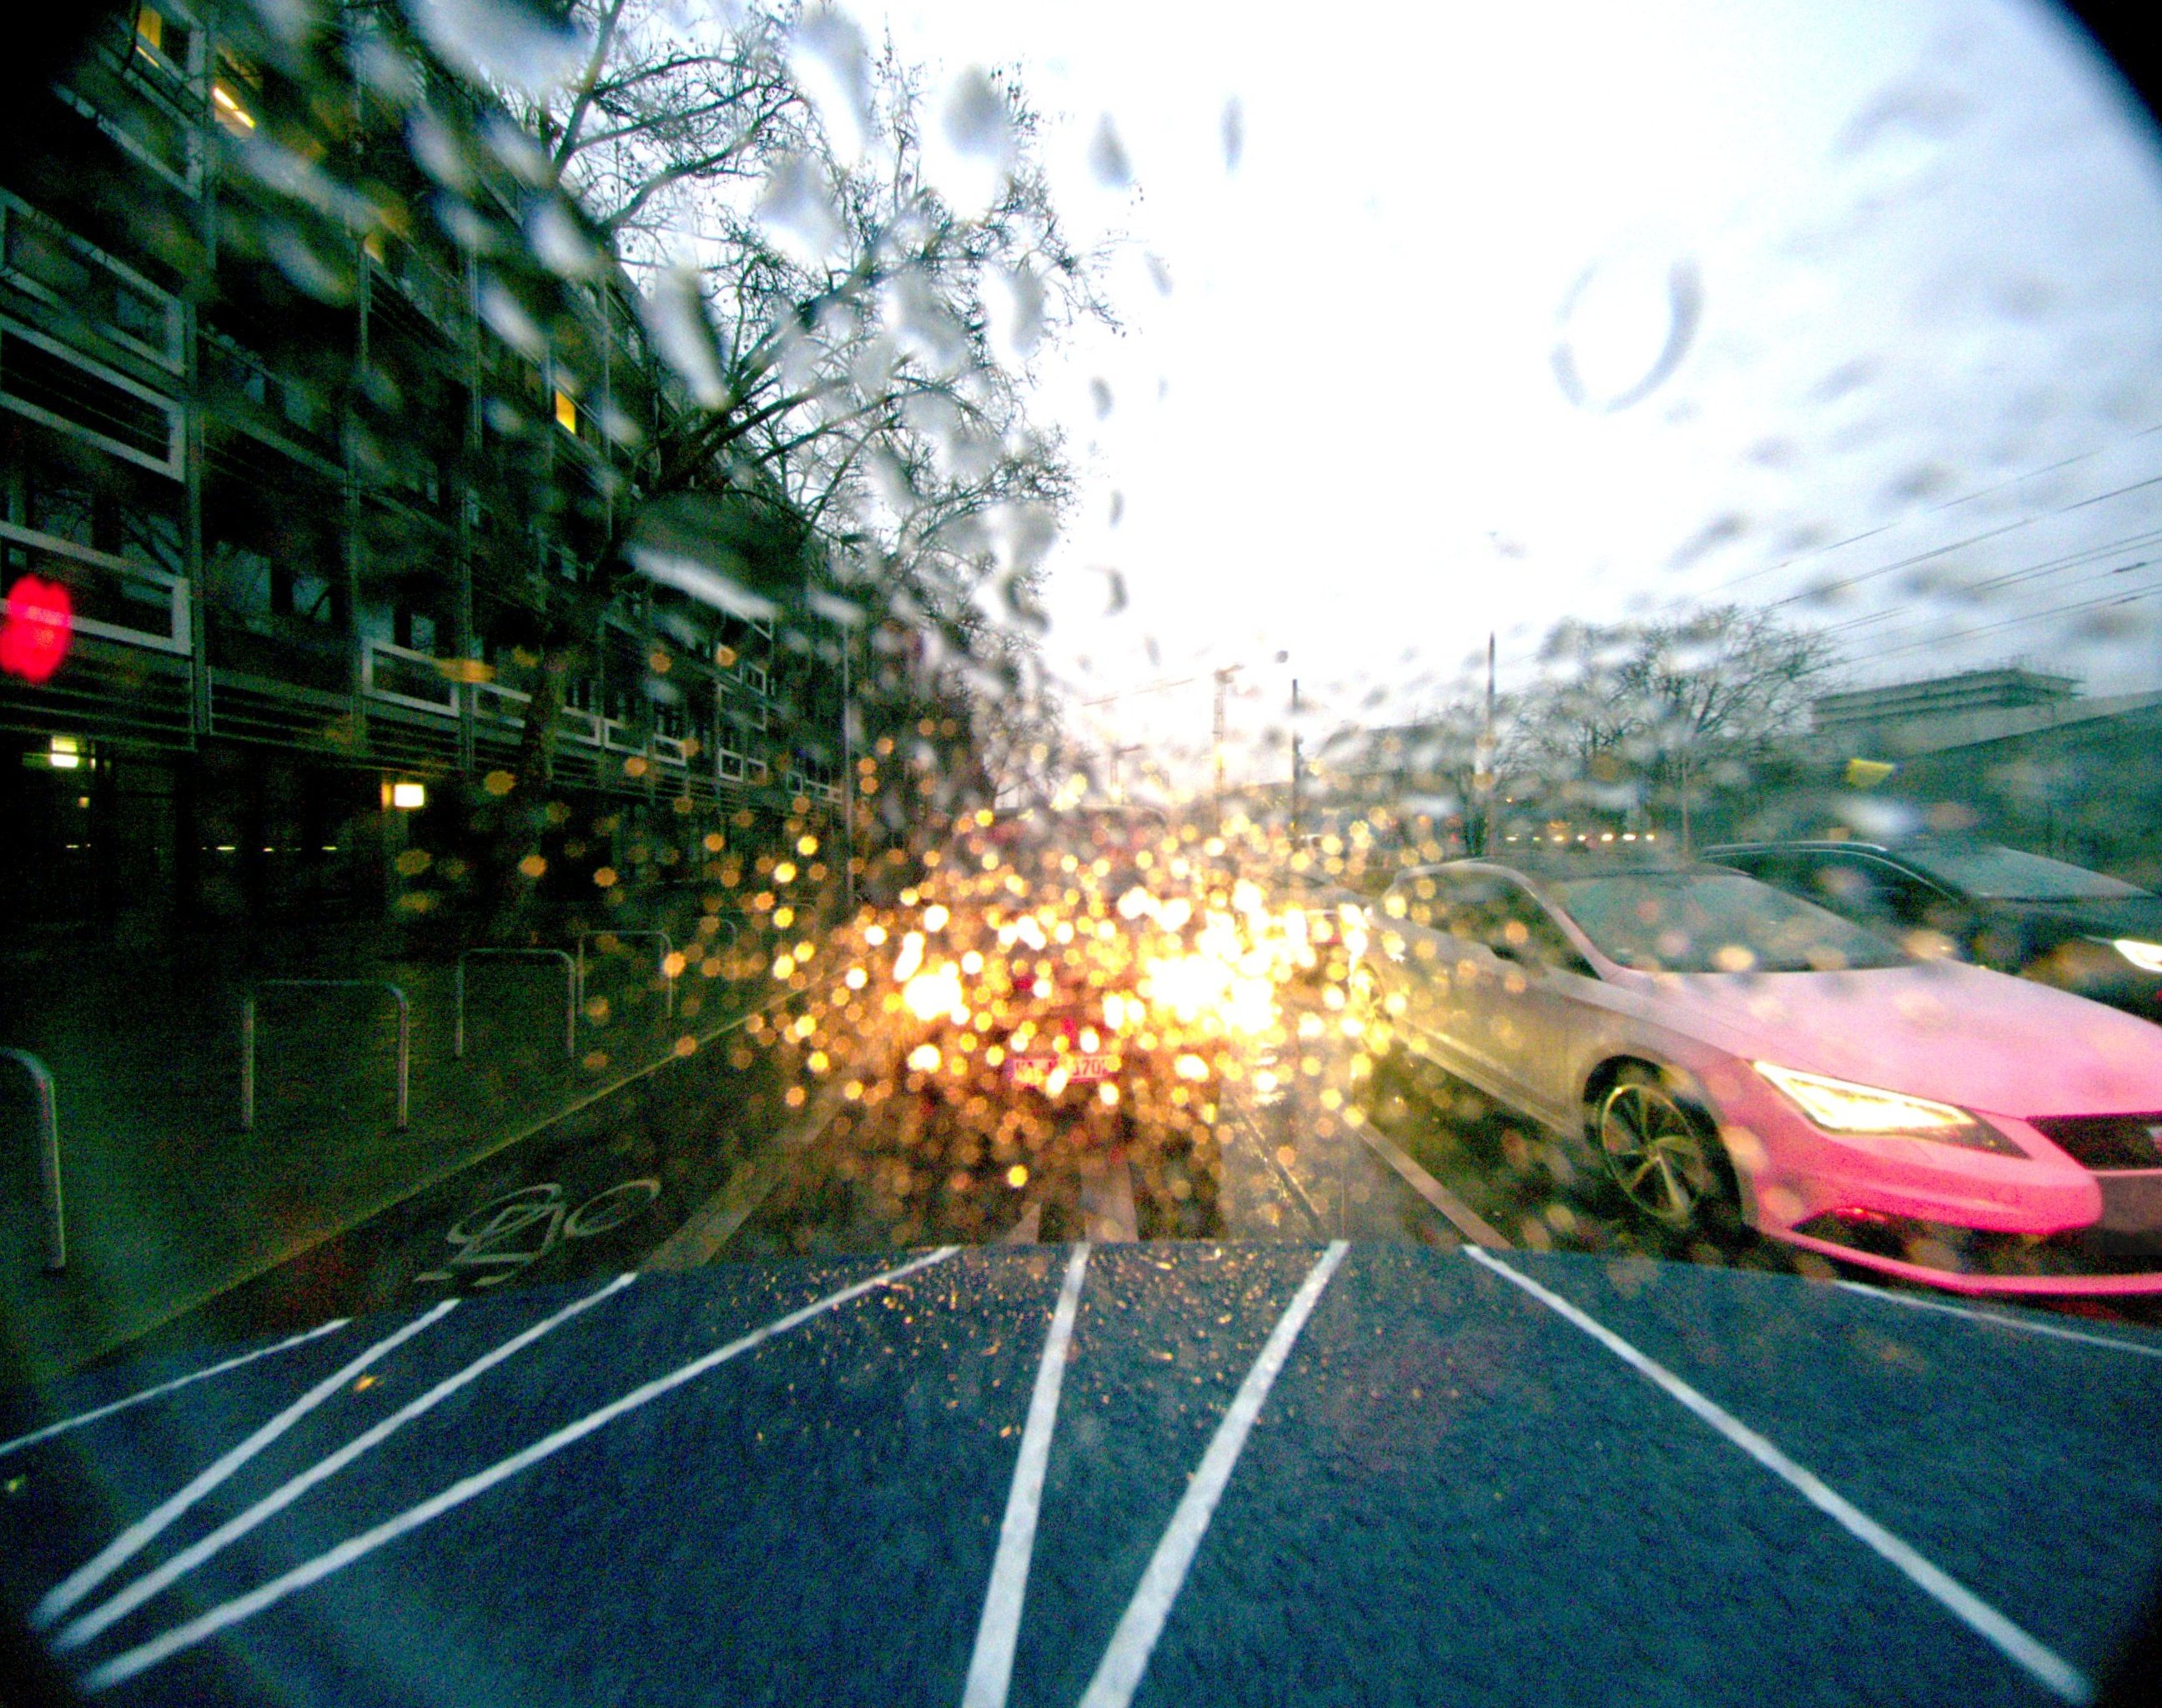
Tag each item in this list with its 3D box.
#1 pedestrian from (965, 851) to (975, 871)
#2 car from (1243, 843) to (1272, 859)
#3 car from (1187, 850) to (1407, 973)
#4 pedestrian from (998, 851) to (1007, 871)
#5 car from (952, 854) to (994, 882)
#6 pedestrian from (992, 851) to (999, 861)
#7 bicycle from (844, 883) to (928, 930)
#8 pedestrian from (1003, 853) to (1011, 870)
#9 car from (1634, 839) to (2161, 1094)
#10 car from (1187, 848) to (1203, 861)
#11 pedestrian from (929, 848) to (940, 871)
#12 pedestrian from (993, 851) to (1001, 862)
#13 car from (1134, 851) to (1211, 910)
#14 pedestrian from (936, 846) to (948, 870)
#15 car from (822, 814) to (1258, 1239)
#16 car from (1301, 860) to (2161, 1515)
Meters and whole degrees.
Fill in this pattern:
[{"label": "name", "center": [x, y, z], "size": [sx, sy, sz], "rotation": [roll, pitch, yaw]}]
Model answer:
[{"label": "pedestrian", "center": [-9.391, 0.589, 64.221], "size": [0.766, 1.740, 0.928], "rotation": [0, 1, -4]}, {"label": "car", "center": [20.827, -0.344, 89.965], "size": [2.095, 1.884, 3.997], "rotation": [-1, 1, -7]}, {"label": "car", "center": [2.983, 0.697, 11.607], "size": [1.999, 1.478, 4.504], "rotation": [-1, 0, -1]}, {"label": "pedestrian", "center": [-7.032, 0.603, 68.189], "size": [0.766, 1.740, 0.928], "rotation": [0, 1, -4]}, {"label": "car", "center": [-6.144, 0.769, 43.509], "size": [1.713, 1.455, 3.999], "rotation": [-2, 1, 1]}, {"label": "pedestrian", "center": [-11.310, 0.253, 100.643], "size": [0.719, 1.330, 0.791], "rotation": [-2, 1, 1]}, {"label": "bicycle", "center": [-4.496, 1.205, 17.612], "size": [1.704, 0.987, 0.879], "rotation": [1, 1, 0]}, {"label": "pedestrian", "center": [-7.892, 0.788, 81.002], "size": [0.766, 1.740, 0.928], "rotation": [0, 1, -4]}, {"label": "car", "center": [7.333, 0.641, 6.427], "size": [1.853, 1.499, 4.662], "rotation": [-1, 1, -1]}, {"label": "car", "center": [18.855, 0.031, 126.164], "size": [1.998, 2.002, 3.999], "rotation": [-2, 1, 1]}, {"label": "pedestrian", "center": [-12.458, 0.440, 64.770], "size": [0.699, 1.968, 0.928], "rotation": [0, 1, 1]}, {"label": "pedestrian", "center": [-10.208, 0.306, 92.123], "size": [0.782, 1.330, 0.751], "rotation": [-2, 1, 1]}, {"label": "car", "center": [2.728, 0.749, 23.553], "size": [1.907, 1.565, 3.999], "rotation": [-2, 1, 1]}, {"label": "pedestrian", "center": [-12.926, 0.380, 70.682], "size": [1.062, 2.182, 1.110], "rotation": [-2, 1, -11]}, {"label": "car", "center": [-0.195, 0.750, 5.392], "size": [1.878, 1.830, 3.999], "rotation": [-2, 1, -1]}, {"label": "car", "center": [2.983, 0.836, 4.168], "size": [1.949, 1.478, 4.504], "rotation": [-2, 0, -4]}]
